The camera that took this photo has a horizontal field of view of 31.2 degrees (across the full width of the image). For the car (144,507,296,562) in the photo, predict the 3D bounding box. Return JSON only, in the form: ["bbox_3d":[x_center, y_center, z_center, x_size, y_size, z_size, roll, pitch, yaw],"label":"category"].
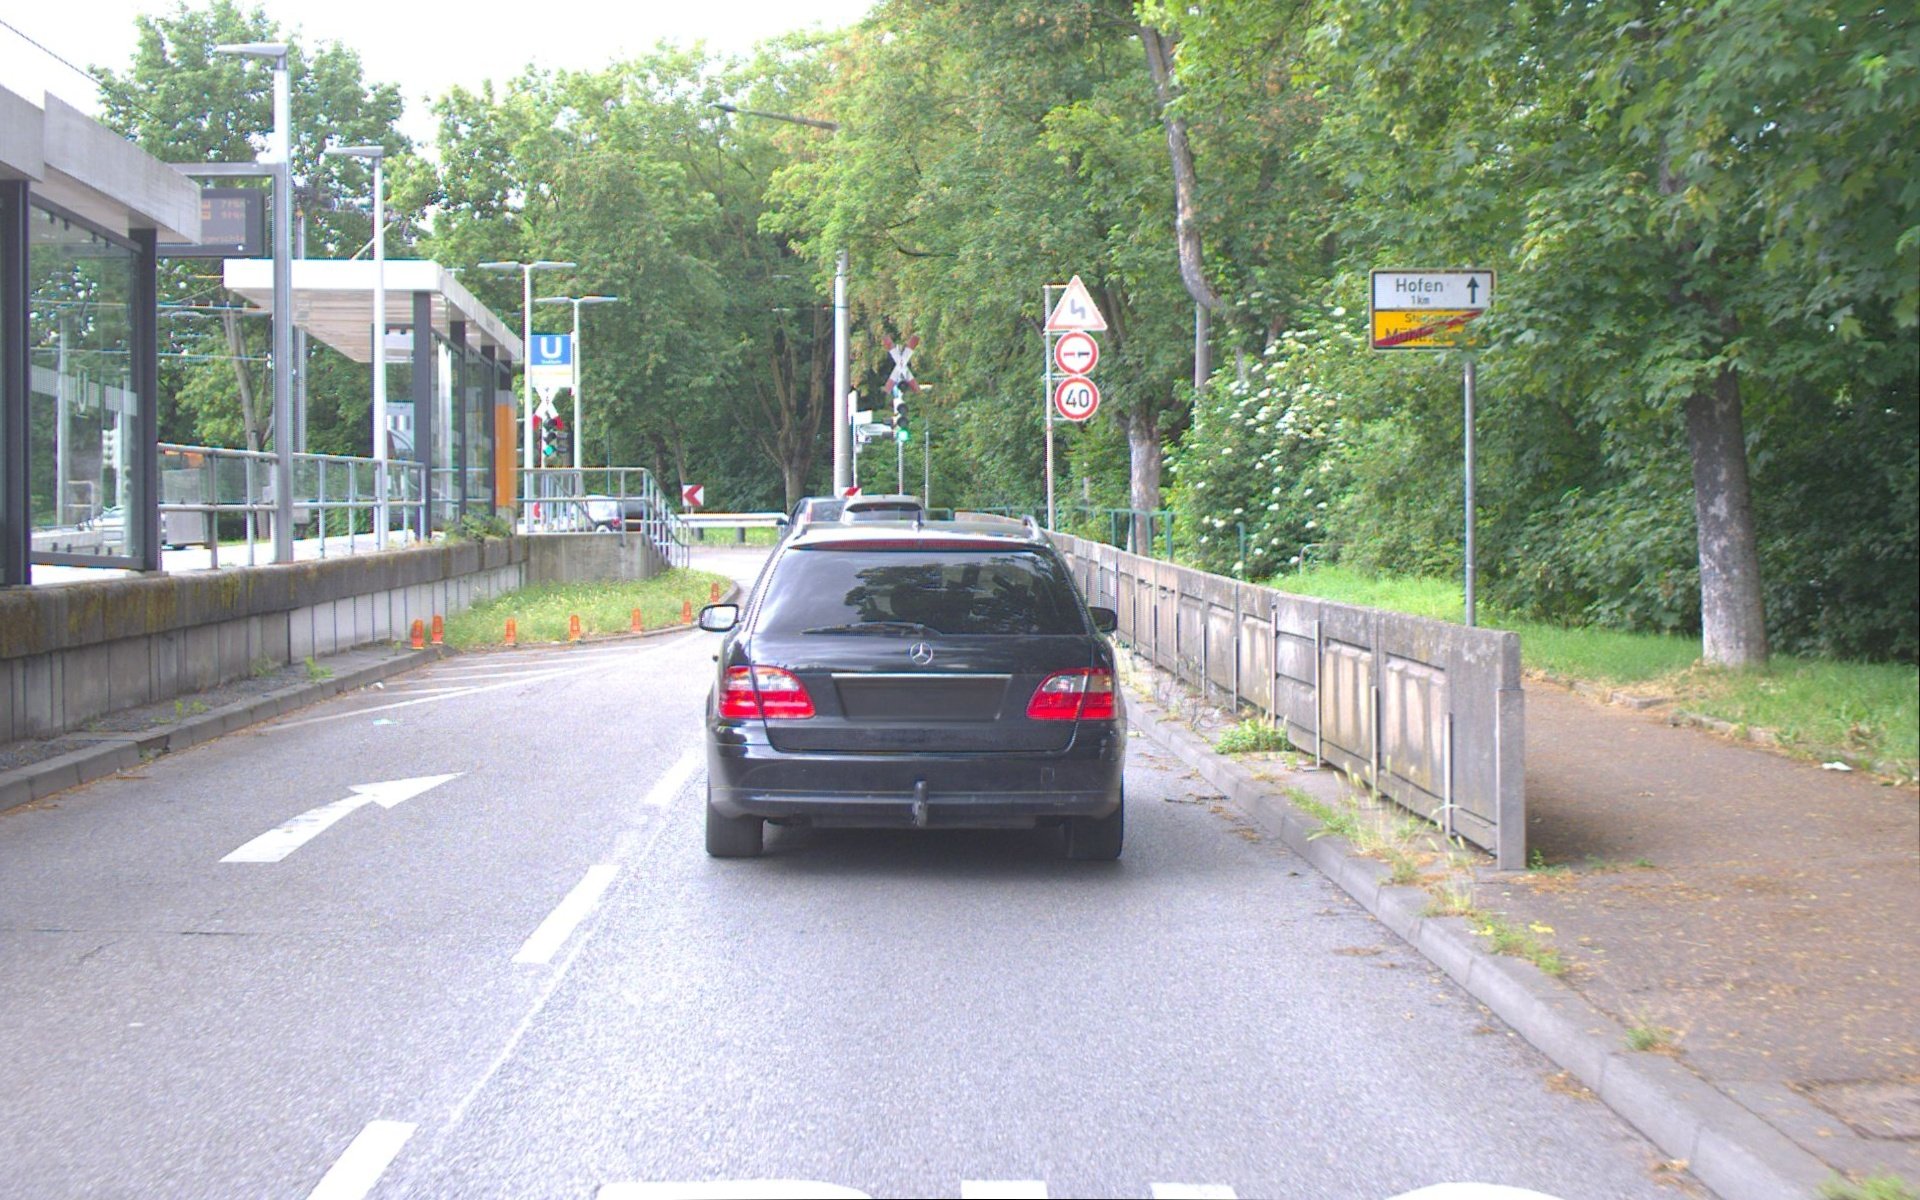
[{"bbox_3d":[-19.855,-1.774,92.183,3.997,1.394,1.995,2,3,42],"label":"car"}]

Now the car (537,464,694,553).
[{"bbox_3d":[-7.876,-2.068,78.327,1.993,1.911,4.000,2,0,-31],"label":"car"}]

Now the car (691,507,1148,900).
[{"bbox_3d":[-0.243,0.359,15.615,1.781,1.520,4.001,1,2,-2],"label":"car"}]

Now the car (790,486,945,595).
[{"bbox_3d":[-1.500,-0.939,54.217,1.781,1.642,4.001,0,1,-11],"label":"car"}]

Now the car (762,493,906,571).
[{"bbox_3d":[-2.418,-1.302,64.798,1.993,1.394,4.002,0,2,-13],"label":"car"}]
